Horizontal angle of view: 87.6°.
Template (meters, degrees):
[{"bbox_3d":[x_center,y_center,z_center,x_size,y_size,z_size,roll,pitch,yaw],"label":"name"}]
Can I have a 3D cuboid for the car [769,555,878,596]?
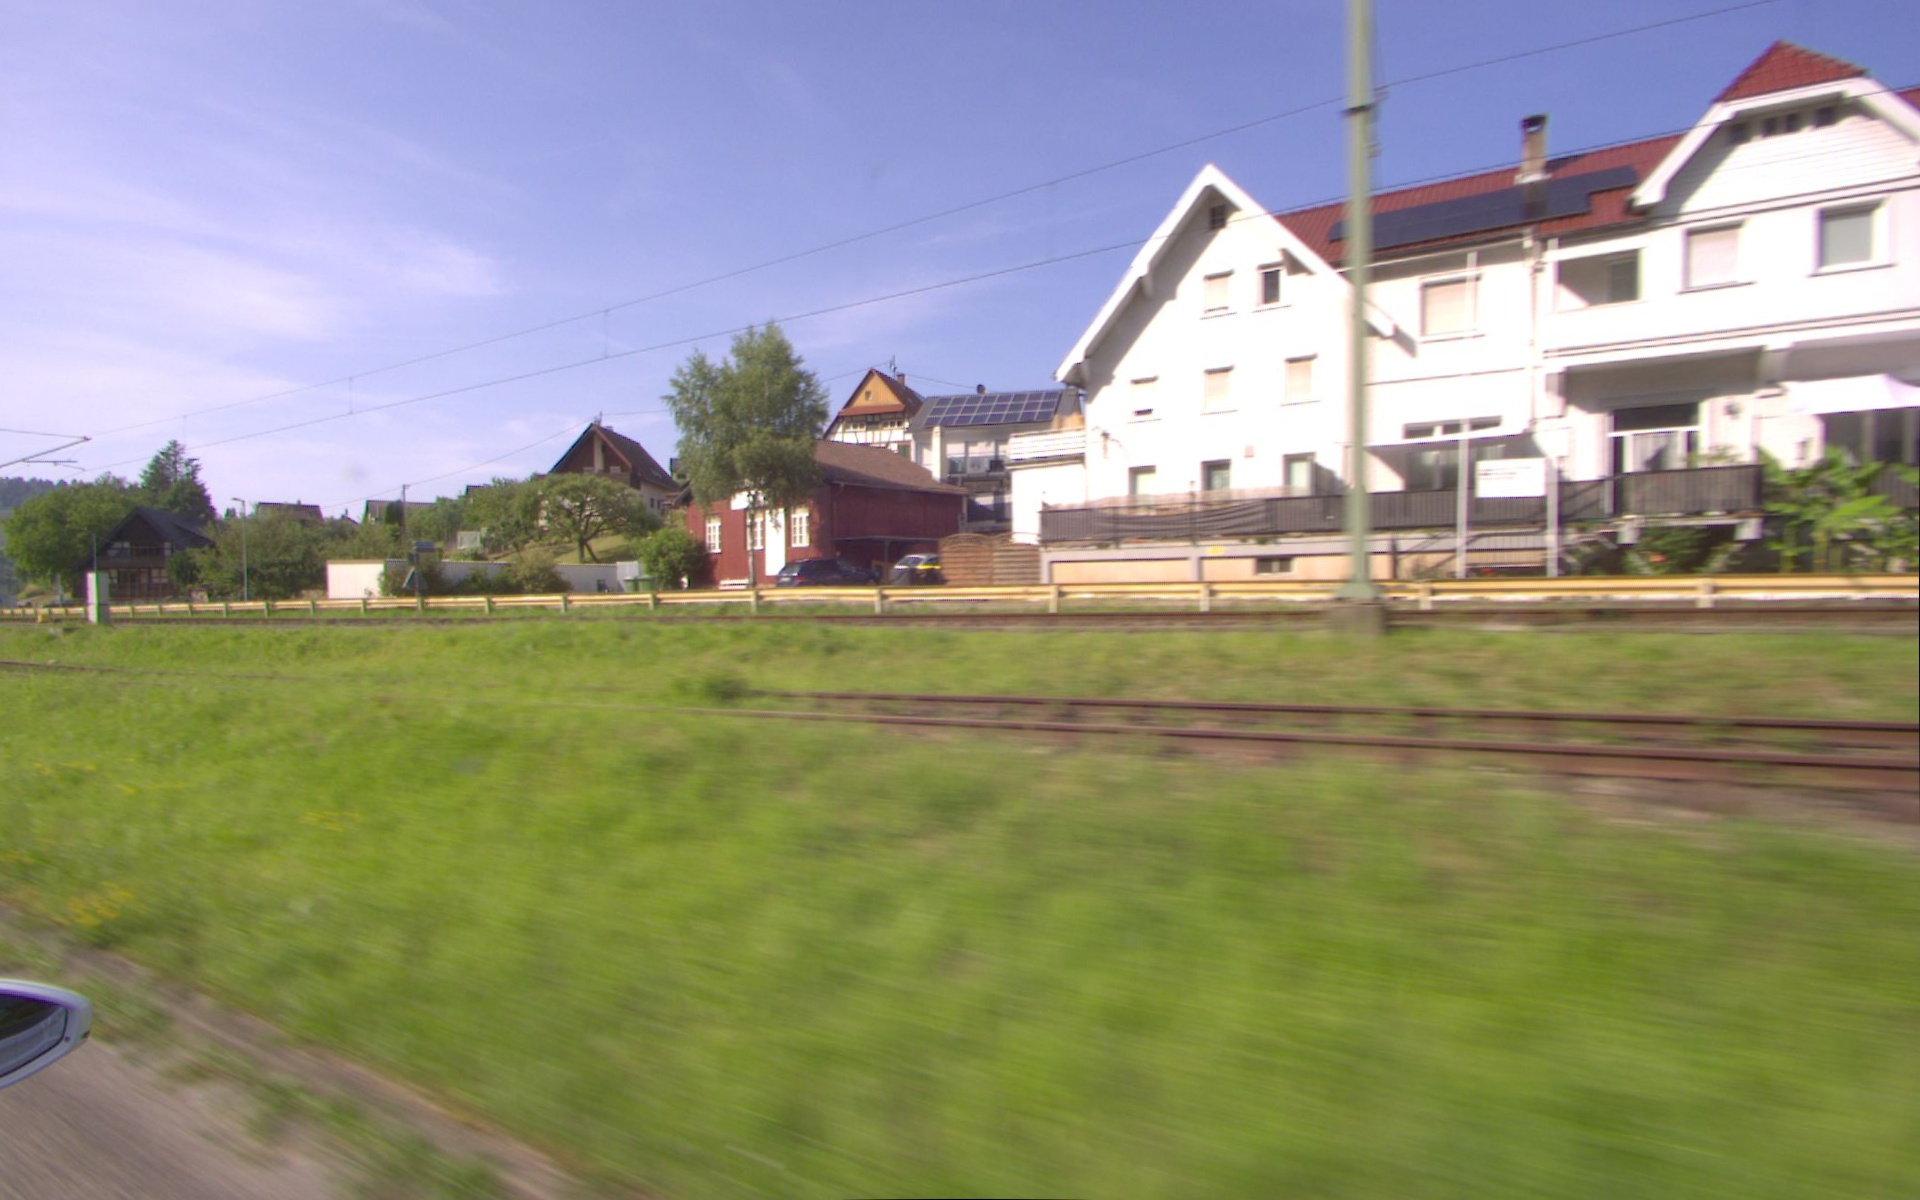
[{"bbox_3d":[-5.121,-0.952,38.051,1.802,1.395,3.969,0,3,38],"label":"car"}]

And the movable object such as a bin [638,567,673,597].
[{"bbox_3d":[-10.886,-0.636,35.835,0.899,1.064,0.805,0,-1,36],"label":"movable object such as a bin"}]

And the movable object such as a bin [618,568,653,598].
[{"bbox_3d":[-11.818,-0.606,36.470,0.899,1.064,0.805,0,-1,36],"label":"movable object such as a bin"}]

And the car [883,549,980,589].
[{"bbox_3d":[-1.083,-1.243,39.620,1.801,1.395,3.972,0,4,35],"label":"car"}]
